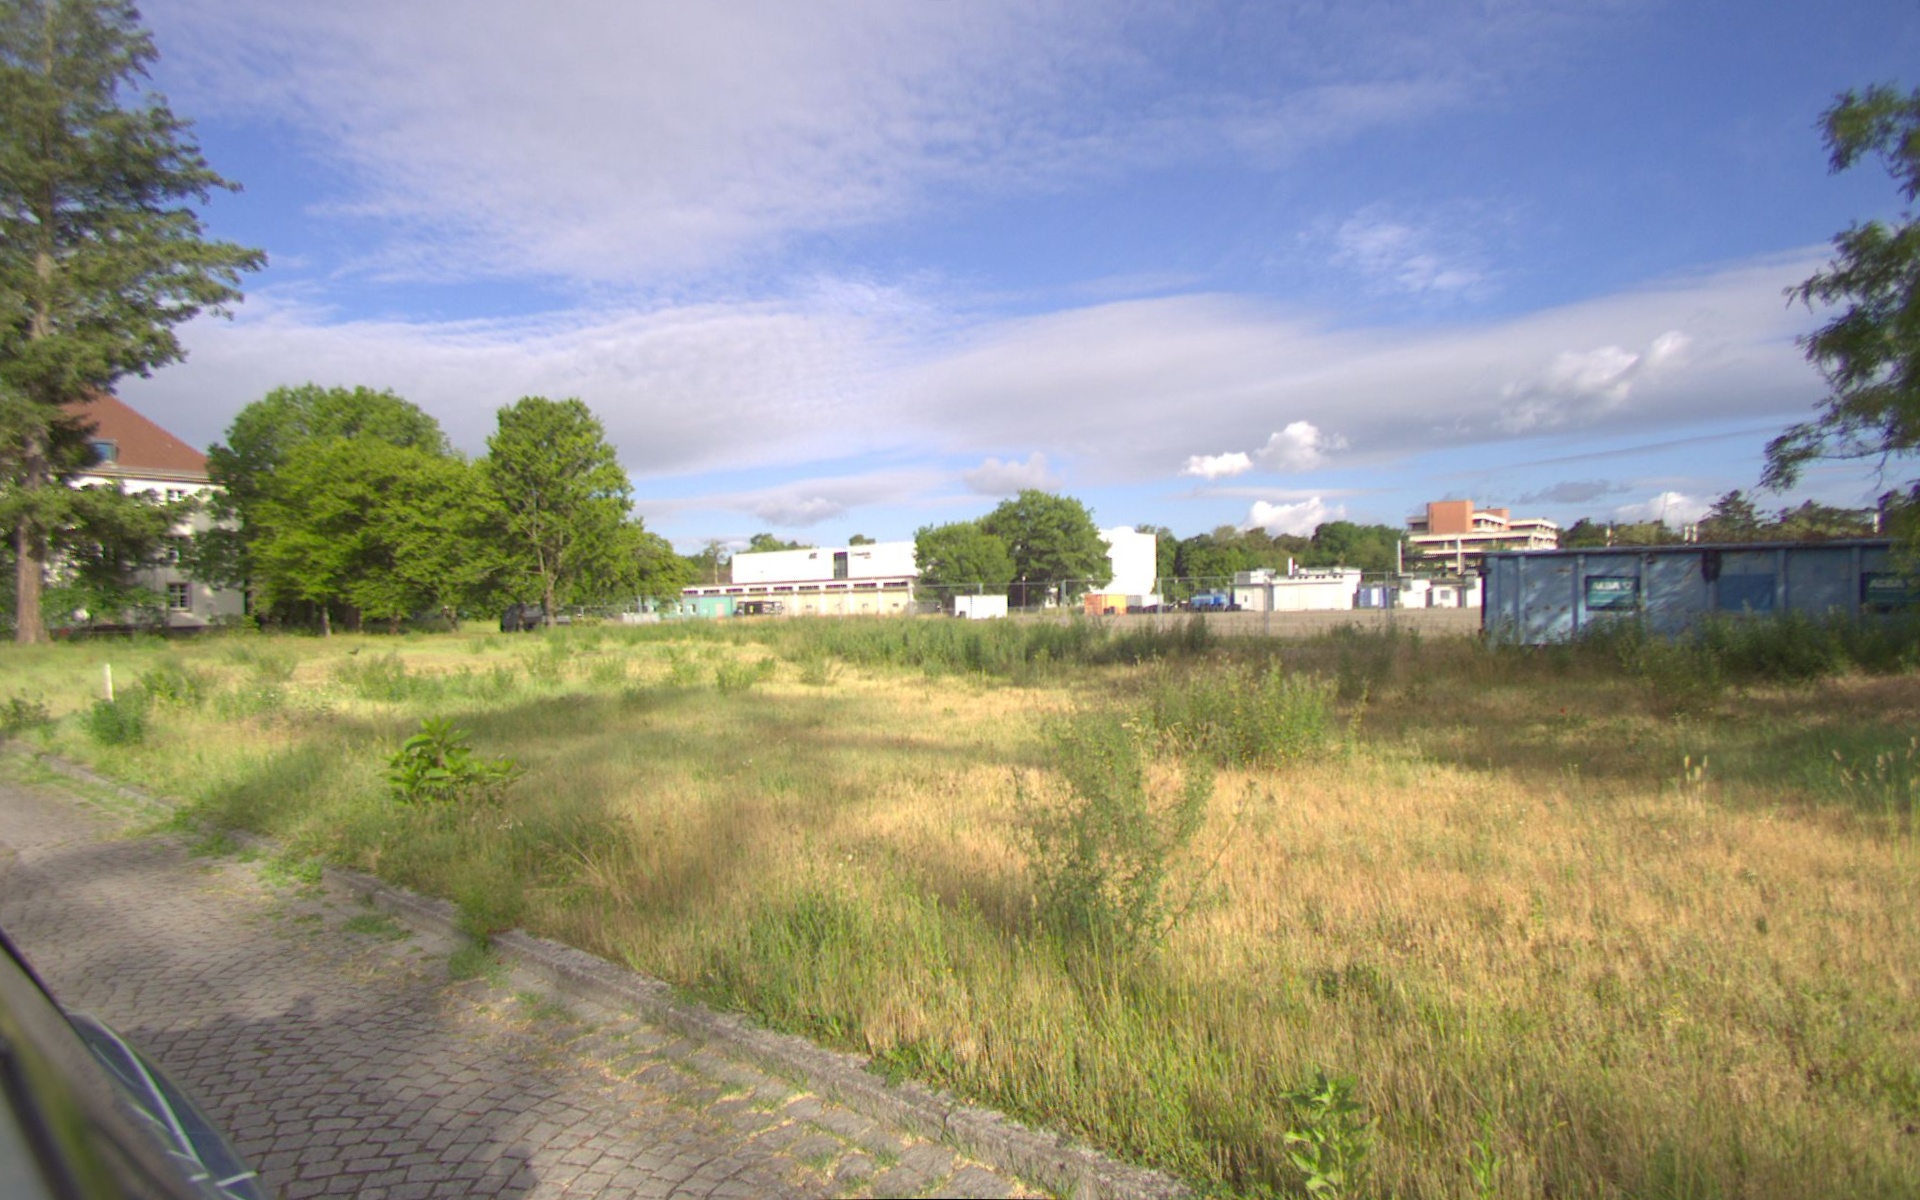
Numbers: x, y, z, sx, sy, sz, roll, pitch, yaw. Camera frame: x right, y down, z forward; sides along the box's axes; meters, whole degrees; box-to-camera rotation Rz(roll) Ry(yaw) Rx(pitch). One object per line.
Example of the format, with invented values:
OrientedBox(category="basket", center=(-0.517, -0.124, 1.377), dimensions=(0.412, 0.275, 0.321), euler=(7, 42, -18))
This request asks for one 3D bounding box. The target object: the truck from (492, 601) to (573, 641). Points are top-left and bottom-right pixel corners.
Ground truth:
OrientedBox(category="truck", center=(-29.716, 1.458, 70.168), dimensions=(6.955, 2.606, 2.386), euler=(-2, -1, 41))
